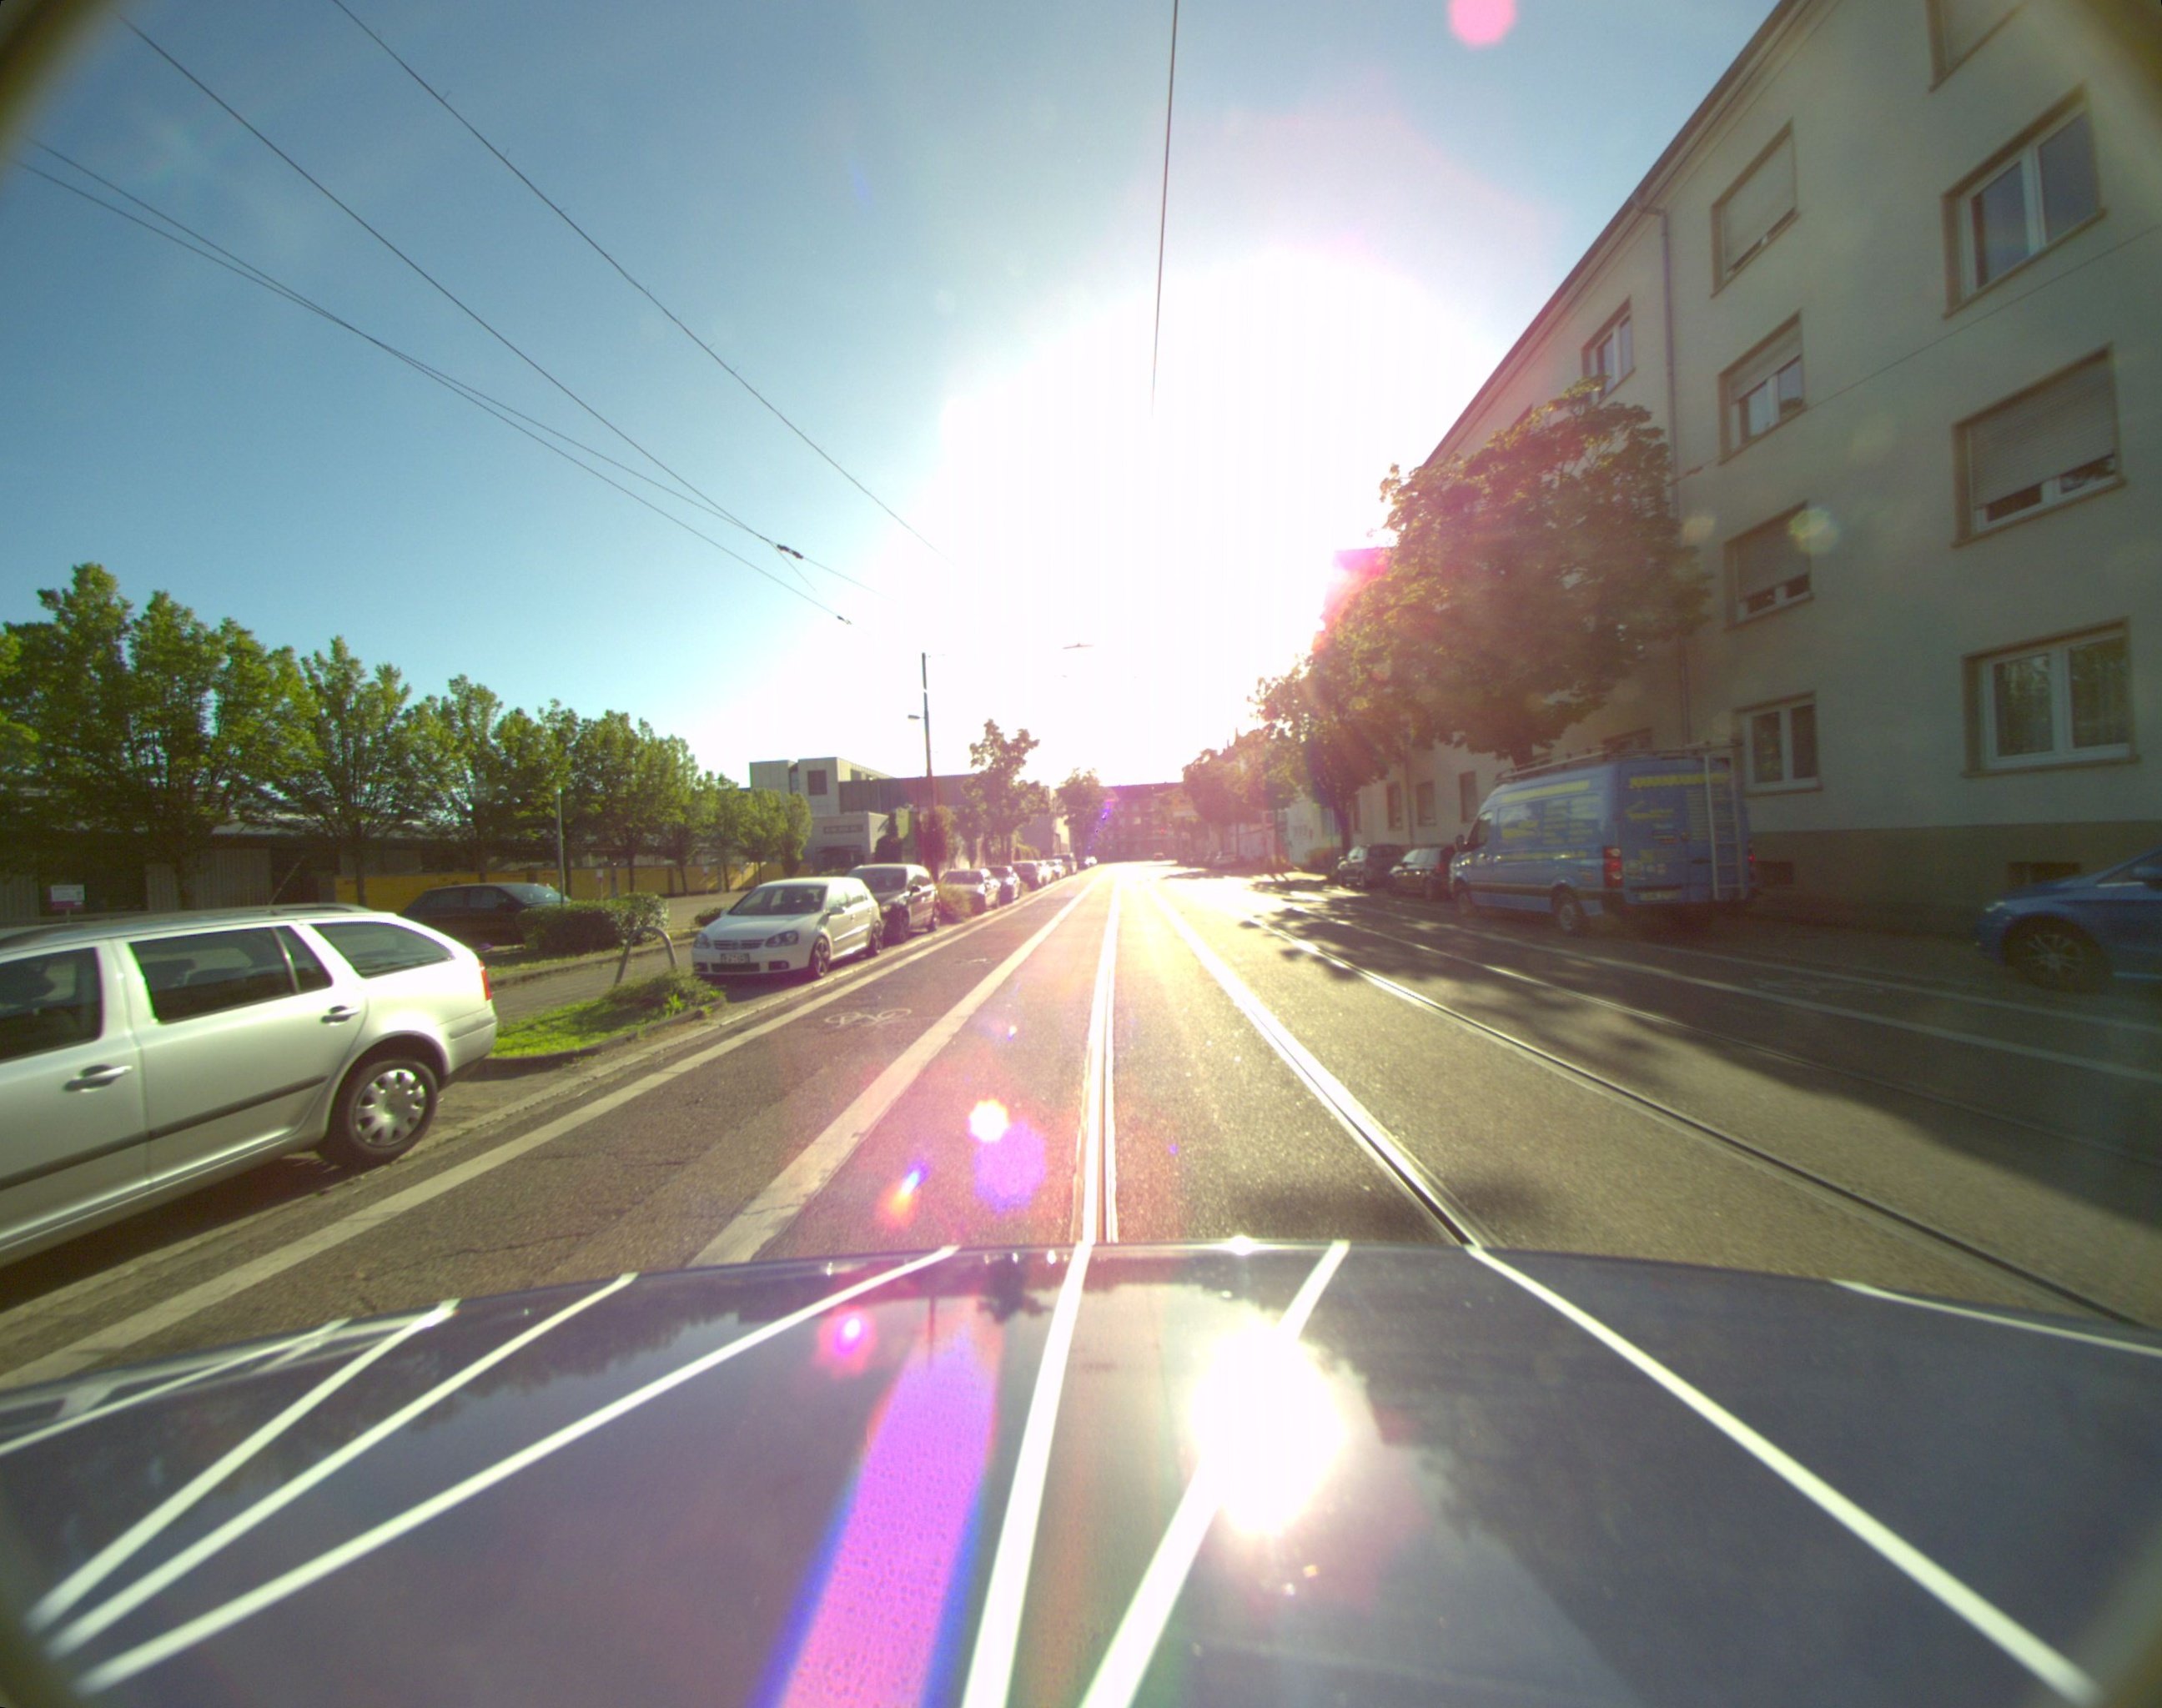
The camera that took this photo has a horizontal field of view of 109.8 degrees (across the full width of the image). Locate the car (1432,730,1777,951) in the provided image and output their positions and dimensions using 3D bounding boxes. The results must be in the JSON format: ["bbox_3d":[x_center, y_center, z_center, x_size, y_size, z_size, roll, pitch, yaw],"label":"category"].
[{"bbox_3d":[8.368,-0.207,13.158,2.022,2.809,6.033,-4,0,4],"label":"car"}]

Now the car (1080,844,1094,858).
[{"bbox_3d":[0.839,-0.438,104.902,1.746,1.702,4.277,-4,0,1],"label":"car"}]

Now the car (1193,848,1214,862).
[{"bbox_3d":[14.375,0.096,89.127,1.877,1.420,4.293,-4,0,3],"label":"car"}]

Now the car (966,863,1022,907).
[{"bbox_3d":[-3.450,1.195,30.996,1.732,1.455,4.340,-4,0,-1],"label":"car"}]

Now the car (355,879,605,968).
[{"bbox_3d":[-12.296,1.394,15.718,3.711,1.392,1.759,-4,1,2],"label":"car"}]

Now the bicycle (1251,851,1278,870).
[{"bbox_3d":[11.402,0.371,47.155,1.990,1.034,0.531,-5,1,-42],"label":"bicycle"}]

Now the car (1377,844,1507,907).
[{"bbox_3d":[9.577,0.497,20.543,1.655,1.416,4.190,-4,0,4],"label":"car"}]

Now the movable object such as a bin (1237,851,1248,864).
[{"bbox_3d":[12.558,0.264,59.049,0.583,0.954,0.702,-8,0,4],"label":"movable object such as a bin"}]

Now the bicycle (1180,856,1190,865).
[{"bbox_3d":[15.456,0.993,112.948,1.343,1.162,0.409,-4,1,4],"label":"bicycle"}]

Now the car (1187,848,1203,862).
[{"bbox_3d":[14.253,0.115,94.964,1.575,1.496,4.000,-4,0,3],"label":"car"}]

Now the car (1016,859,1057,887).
[{"bbox_3d":[-2.629,1.106,45.989,1.828,1.443,4.642,-3,0,4],"label":"car"}]

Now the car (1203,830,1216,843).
[{"bbox_3d":[17.314,-2.405,102.551,1.358,1.493,2.548,-4,-2,3],"label":"car"}]

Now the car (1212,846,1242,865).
[{"bbox_3d":[12.609,0.112,65.998,1.869,1.482,4.662,-4,0,3],"label":"car"}]

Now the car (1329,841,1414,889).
[{"bbox_3d":[10.382,0.347,27.422,1.655,1.482,4.001,-4,0,4],"label":"car"}]

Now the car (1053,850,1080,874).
[{"bbox_3d":[-1.273,0.668,69.618,1.858,1.980,5.243,-3,0,5],"label":"car"}]

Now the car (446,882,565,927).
[{"bbox_3d":[-22.442,1.940,29.691,3.319,1.488,1.740,-3,1,5],"label":"car"}]

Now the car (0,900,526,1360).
[{"bbox_3d":[-4.955,1.143,3.017,1.915,1.521,4.601,-3,0,2],"label":"car"}]

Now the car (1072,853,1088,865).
[{"bbox_3d":[-0.098,0.673,99.052,1.706,1.473,4.659,-1,1,3],"label":"car"}]

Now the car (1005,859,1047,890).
[{"bbox_3d":[-2.837,1.048,39.973,1.828,1.484,3.815,-1,1,1],"label":"car"}]

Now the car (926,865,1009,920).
[{"bbox_3d":[-3.672,1.206,25.410,1.732,1.455,4.499,-4,0,4],"label":"car"}]

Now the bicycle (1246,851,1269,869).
[{"bbox_3d":[11.853,0.390,50.917,0.667,1.034,1.790,-4,1,41],"label":"bicycle"}]

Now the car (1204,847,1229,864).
[{"bbox_3d":[13.165,0.089,73.969,1.777,1.477,4.306,-4,0,3],"label":"car"}]

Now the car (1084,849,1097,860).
[{"bbox_3d":[1.468,0.114,112.461,1.716,1.481,4.624,-2,0,3],"label":"car"}]

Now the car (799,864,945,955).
[{"bbox_3d":[-4.334,1.072,16.490,1.732,1.595,4.343,-1,1,3],"label":"car"}]

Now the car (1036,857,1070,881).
[{"bbox_3d":[-1.994,1.032,54.661,1.828,1.476,4.602,-4,0,4],"label":"car"}]

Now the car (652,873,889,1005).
[{"bbox_3d":[-4.552,1.157,11.938,1.732,1.503,4.252,-2,1,3],"label":"car"}]

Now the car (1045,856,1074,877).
[{"bbox_3d":[-1.751,1.038,64.341,1.877,1.464,4.076,-4,0,5],"label":"car"}]

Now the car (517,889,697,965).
[{"bbox_3d":[-8.767,1.301,14.346,1.312,1.027,3.057,-4,0,2],"label":"car"}]

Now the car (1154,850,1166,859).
[{"bbox_3d":[14.375,0.018,138.358,1.770,1.455,4.747,-2,1,2],"label":"car"}]

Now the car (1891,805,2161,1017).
[{"bbox_3d":[9.000,0.402,5.311,1.795,1.551,4.642,-4,0,3],"label":"car"}]
